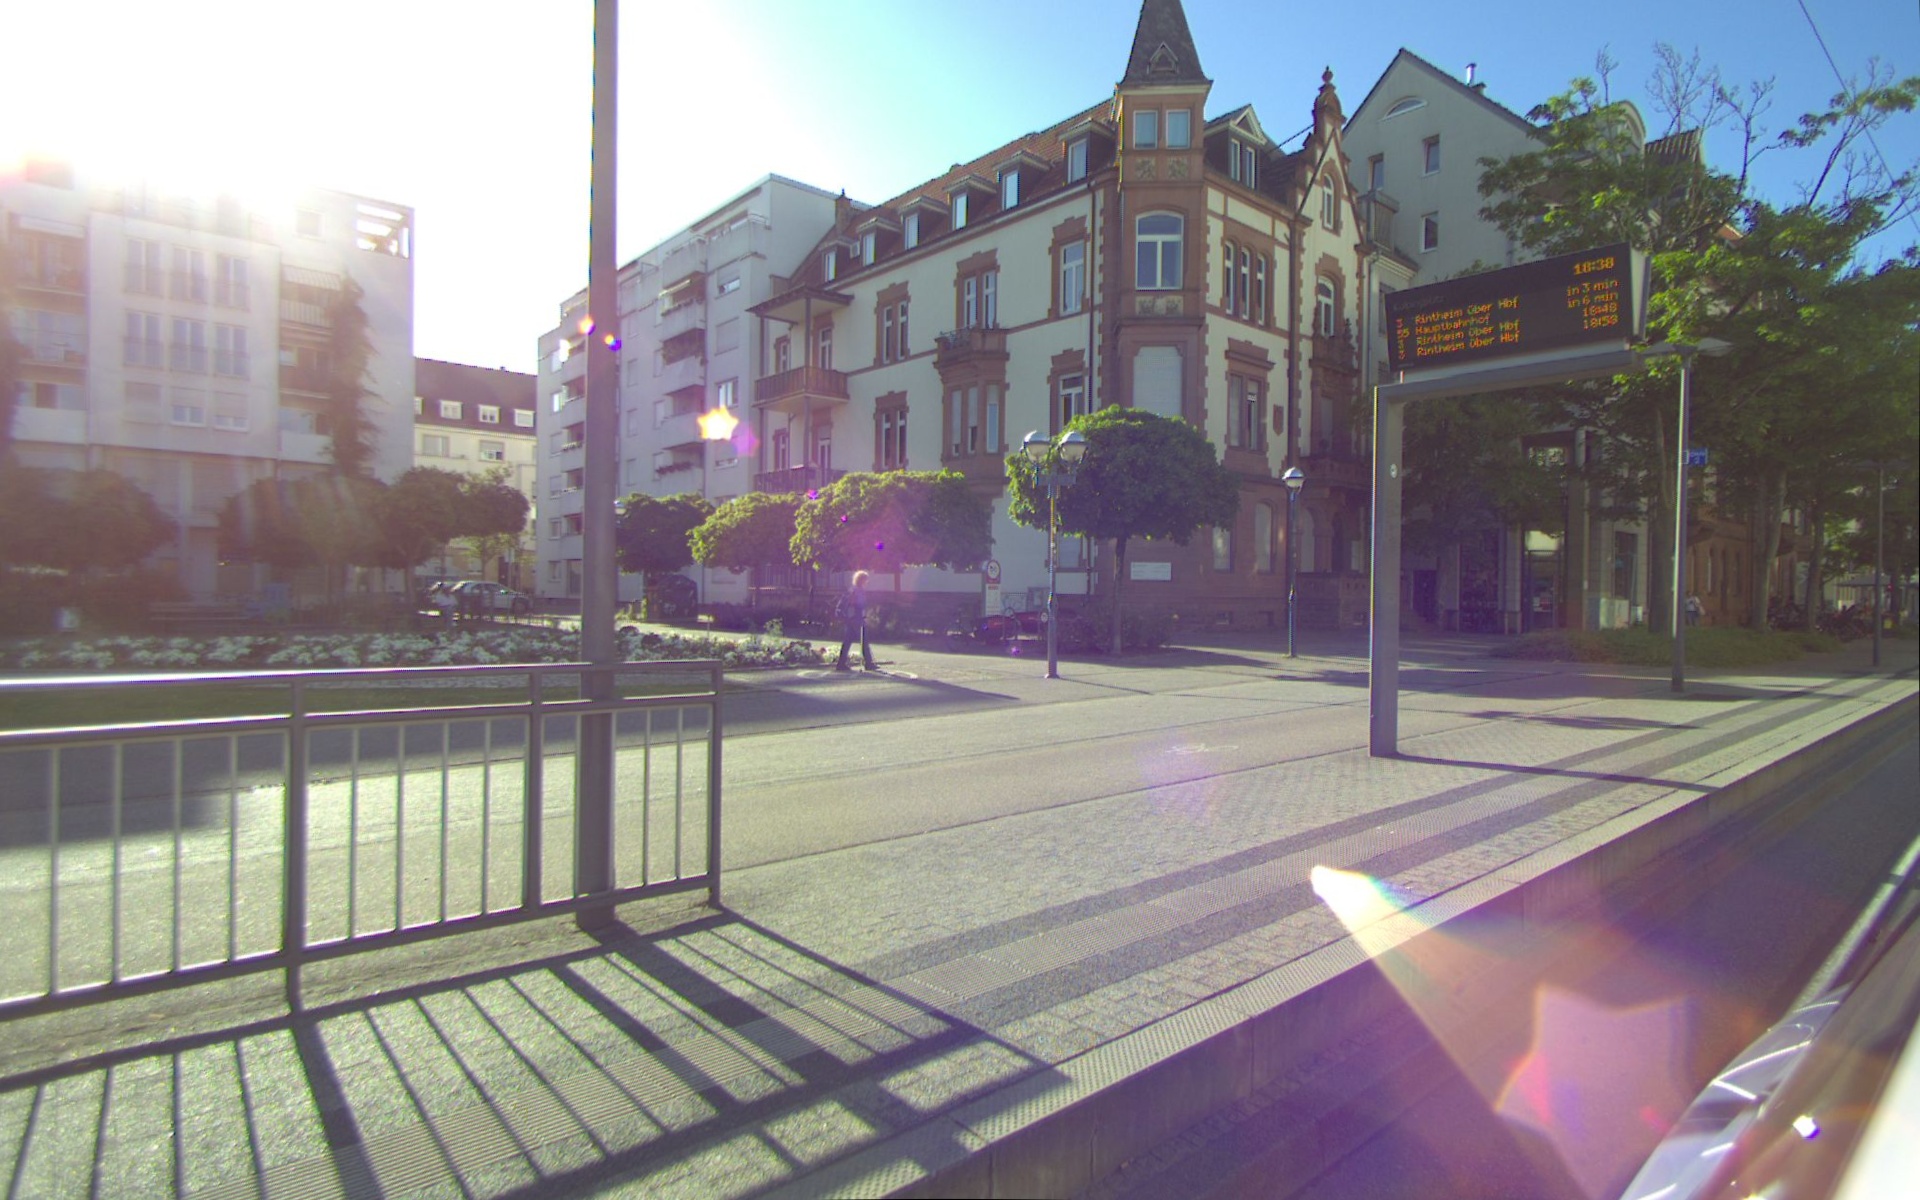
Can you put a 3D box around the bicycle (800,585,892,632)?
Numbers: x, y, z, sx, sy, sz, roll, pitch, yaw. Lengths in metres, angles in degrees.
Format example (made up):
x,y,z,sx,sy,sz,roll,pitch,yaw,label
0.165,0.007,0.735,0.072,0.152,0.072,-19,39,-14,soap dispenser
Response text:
x,y,z,sx,sy,sz,roll,pitch,yaw,label
-3.435,0.243,30.724,2.864,1.389,0.745,0,1,-41,bicycle

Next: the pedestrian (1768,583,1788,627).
x,y,z,sx,sy,sz,roll,pitch,yaw,label
38.803,0.227,48.006,0.549,2.039,0.654,0,0,-38,pedestrian

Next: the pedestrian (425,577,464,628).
x,y,z,sx,sy,sz,roll,pitch,yaw,label
-14.872,0.050,29.169,0.917,1.429,1.529,0,1,-30,pedestrian

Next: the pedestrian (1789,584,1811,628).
x,y,z,sx,sy,sz,roll,pitch,yaw,label
39.328,0.263,47.375,0.549,2.039,0.654,0,0,-38,pedestrian

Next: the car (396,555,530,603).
x,y,z,sx,sy,sz,roll,pitch,yaw,label
-28.116,-1.141,57.423,6.290,2.587,2.808,0,1,-43,car

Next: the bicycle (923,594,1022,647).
x,y,z,sx,sy,sz,roll,pitch,yaw,label
0.335,0.457,23.922,0.786,1.081,2.767,1,2,40,bicycle

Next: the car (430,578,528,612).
x,y,z,sx,sy,sz,roll,pitch,yaw,label
-22.622,-0.253,47.601,3.923,1.536,2.001,0,1,-34,car

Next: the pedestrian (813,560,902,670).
x,y,z,sx,sy,sz,roll,pitch,yaw,label
-1.648,0.223,16.289,1.064,1.689,0.944,1,0,37,pedestrian

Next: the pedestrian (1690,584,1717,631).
x,y,z,sx,sy,sz,roll,pitch,yaw,label
28.566,0.269,38.901,0.740,1.757,0.864,1,0,43,pedestrian

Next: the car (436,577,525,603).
x,y,z,sx,sy,sz,roll,pitch,yaw,label
-24.898,-0.514,52.541,3.923,1.304,2.001,0,1,-34,car
